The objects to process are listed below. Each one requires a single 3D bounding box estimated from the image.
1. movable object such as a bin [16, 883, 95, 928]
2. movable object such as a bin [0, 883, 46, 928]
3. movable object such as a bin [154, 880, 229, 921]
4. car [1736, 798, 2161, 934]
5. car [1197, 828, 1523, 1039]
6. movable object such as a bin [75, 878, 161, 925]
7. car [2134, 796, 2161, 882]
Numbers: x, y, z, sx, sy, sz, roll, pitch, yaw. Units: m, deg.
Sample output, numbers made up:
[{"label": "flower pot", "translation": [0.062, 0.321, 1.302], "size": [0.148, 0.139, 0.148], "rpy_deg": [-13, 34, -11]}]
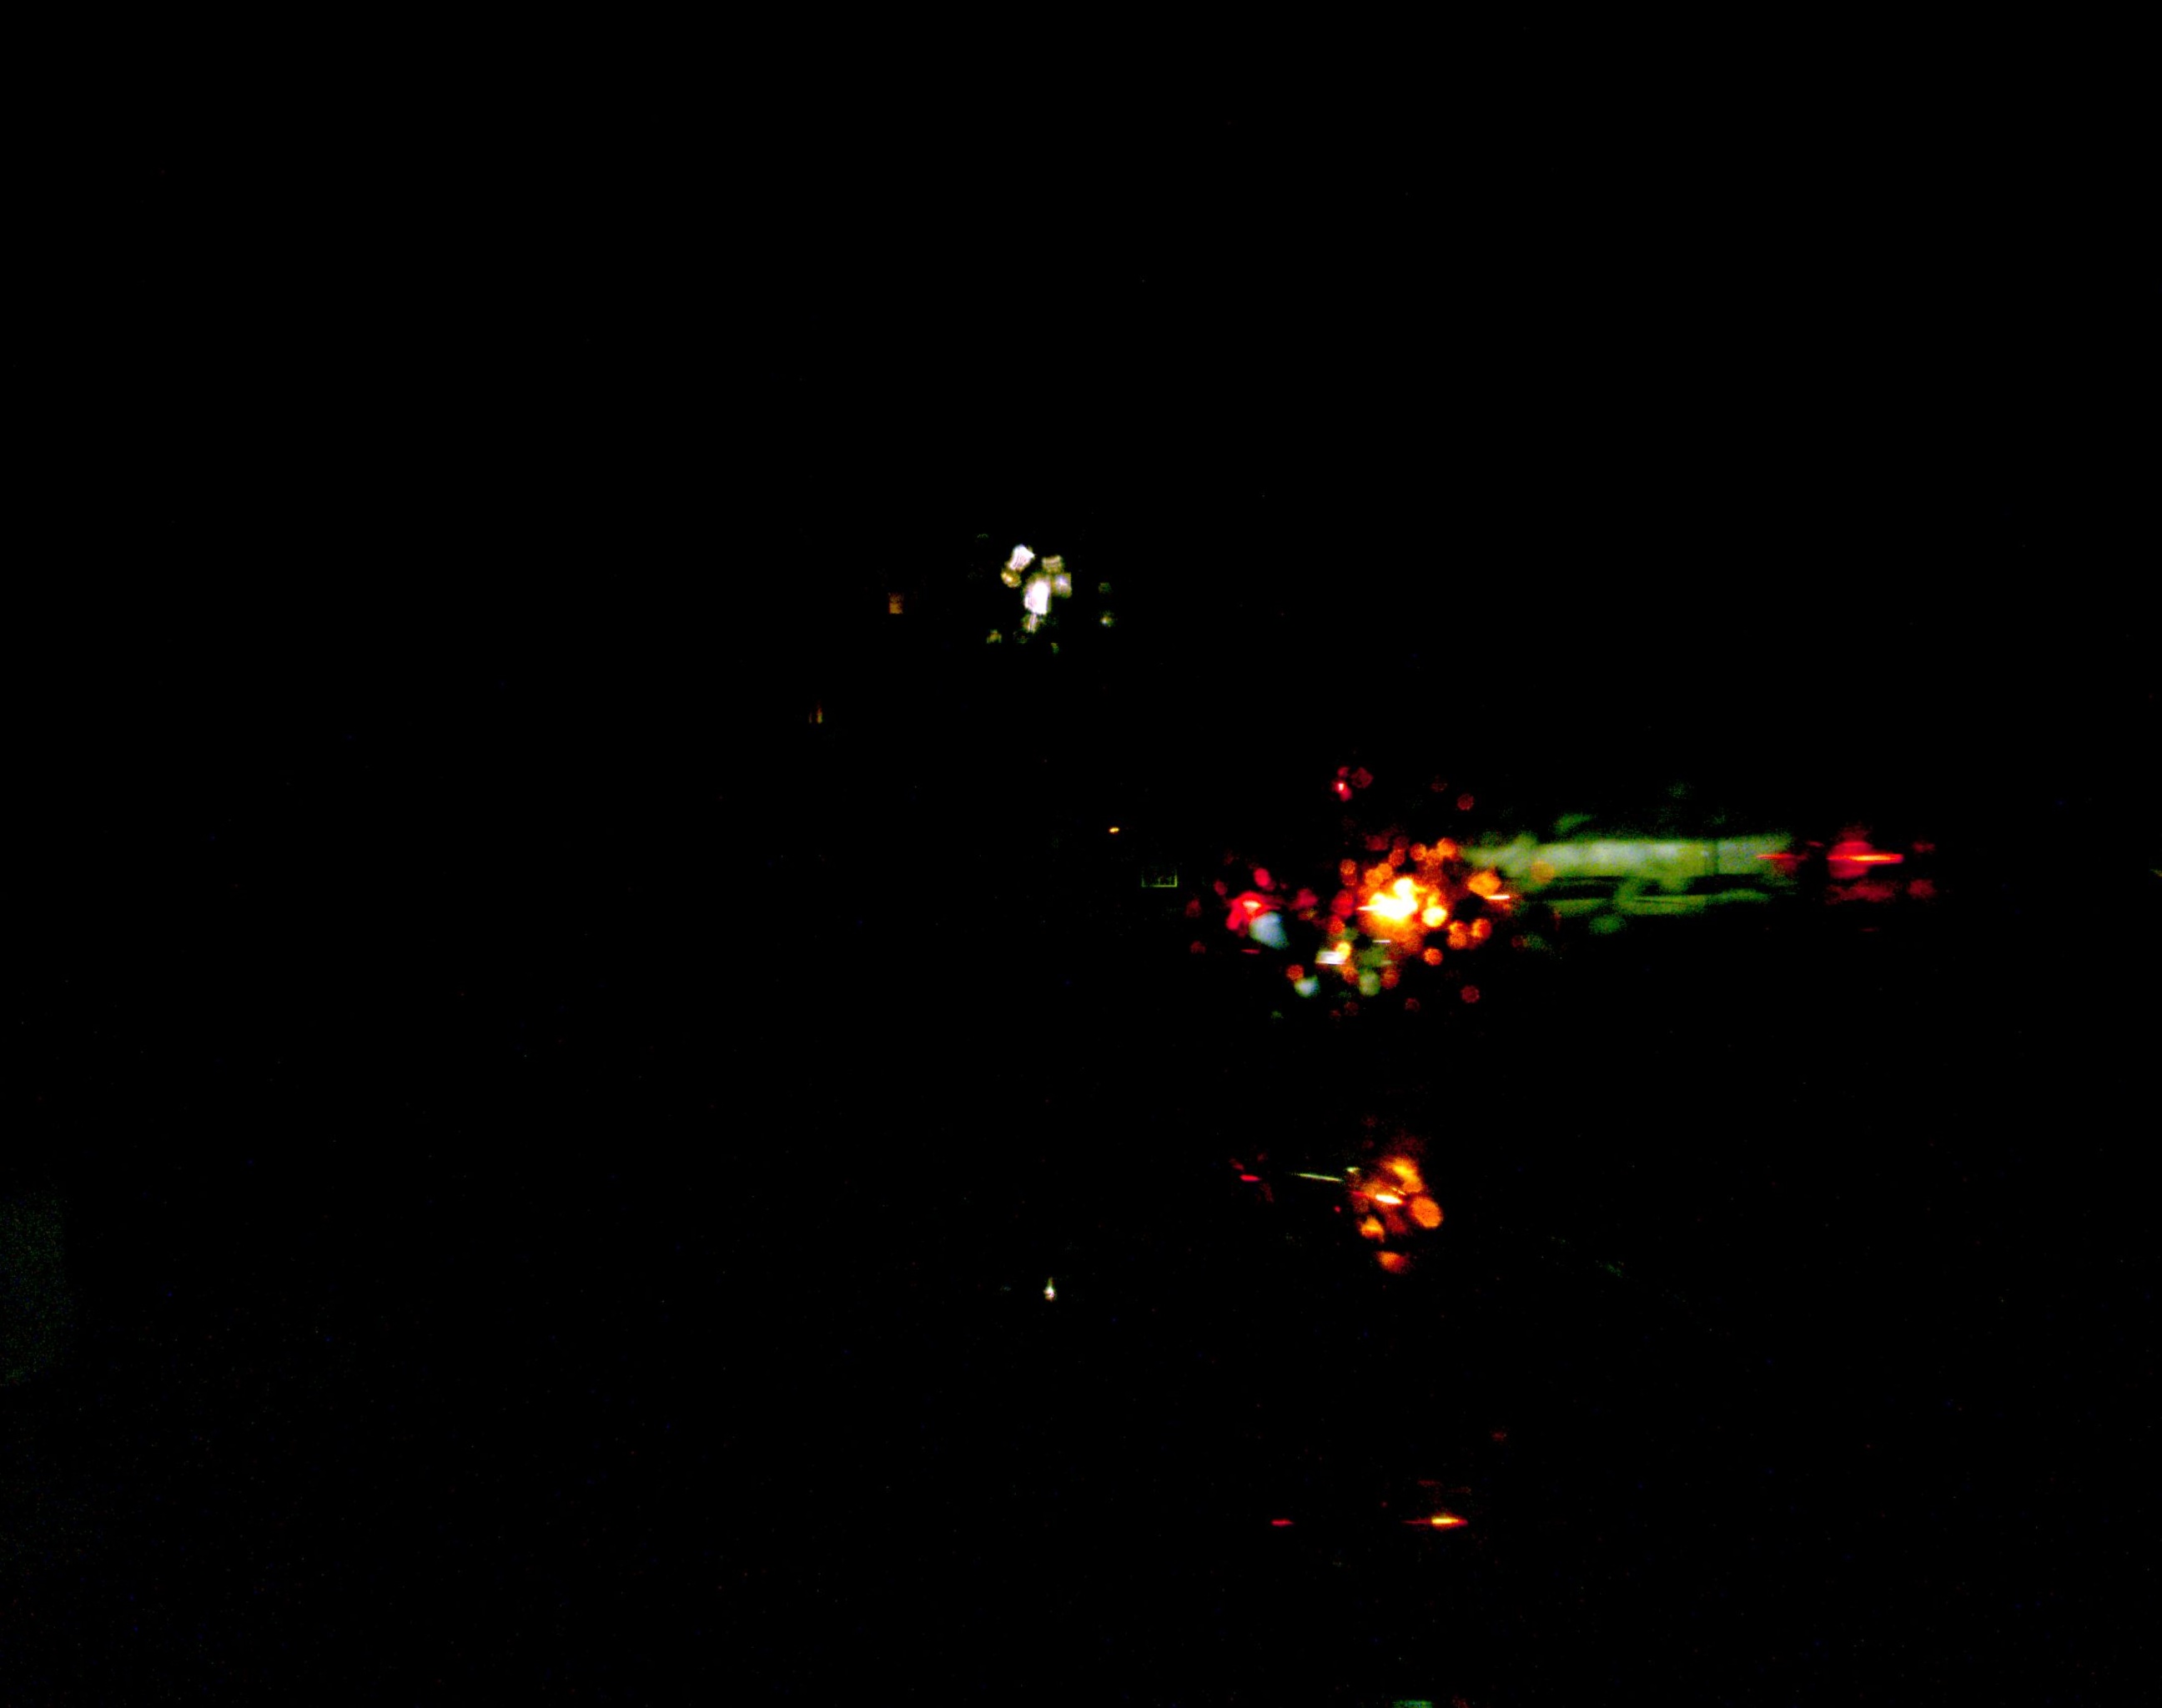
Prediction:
[{"label": "movable object such as a bin", "translation": [-32.763, 1.627, 26.047], "size": [1.237, 1.325, 1.141], "rpy_deg": [-1, 1, -32]}, {"label": "movable object such as a bin", "translation": [-33.963, 1.631, 25.679], "size": [1.328, 1.309, 1.164], "rpy_deg": [-1, 1, -35]}, {"label": "movable object such as a bin", "translation": [-30.083, 1.557, 27.573], "size": [1.321, 1.299, 1.240], "rpy_deg": [0, -2, -27]}, {"label": "car", "translation": [11.781, 0.125, 11.112], "size": [4.217, 1.510, 1.914], "rpy_deg": [-3, 0, -3]}, {"label": "car", "translation": [3.214, 0.612, 8.788], "size": [2.038, 1.677, 4.165], "rpy_deg": [2, 1, 38]}, {"label": "movable object such as a bin", "translation": [-31.495, 1.529, 26.679], "size": [1.394, 1.413, 1.240], "rpy_deg": [-2, 0, -27]}, {"label": "car", "translation": [21.218, -0.240, 13.758], "size": [4.175, 1.517, 1.982], "rpy_deg": [1, -1, 3]}]
